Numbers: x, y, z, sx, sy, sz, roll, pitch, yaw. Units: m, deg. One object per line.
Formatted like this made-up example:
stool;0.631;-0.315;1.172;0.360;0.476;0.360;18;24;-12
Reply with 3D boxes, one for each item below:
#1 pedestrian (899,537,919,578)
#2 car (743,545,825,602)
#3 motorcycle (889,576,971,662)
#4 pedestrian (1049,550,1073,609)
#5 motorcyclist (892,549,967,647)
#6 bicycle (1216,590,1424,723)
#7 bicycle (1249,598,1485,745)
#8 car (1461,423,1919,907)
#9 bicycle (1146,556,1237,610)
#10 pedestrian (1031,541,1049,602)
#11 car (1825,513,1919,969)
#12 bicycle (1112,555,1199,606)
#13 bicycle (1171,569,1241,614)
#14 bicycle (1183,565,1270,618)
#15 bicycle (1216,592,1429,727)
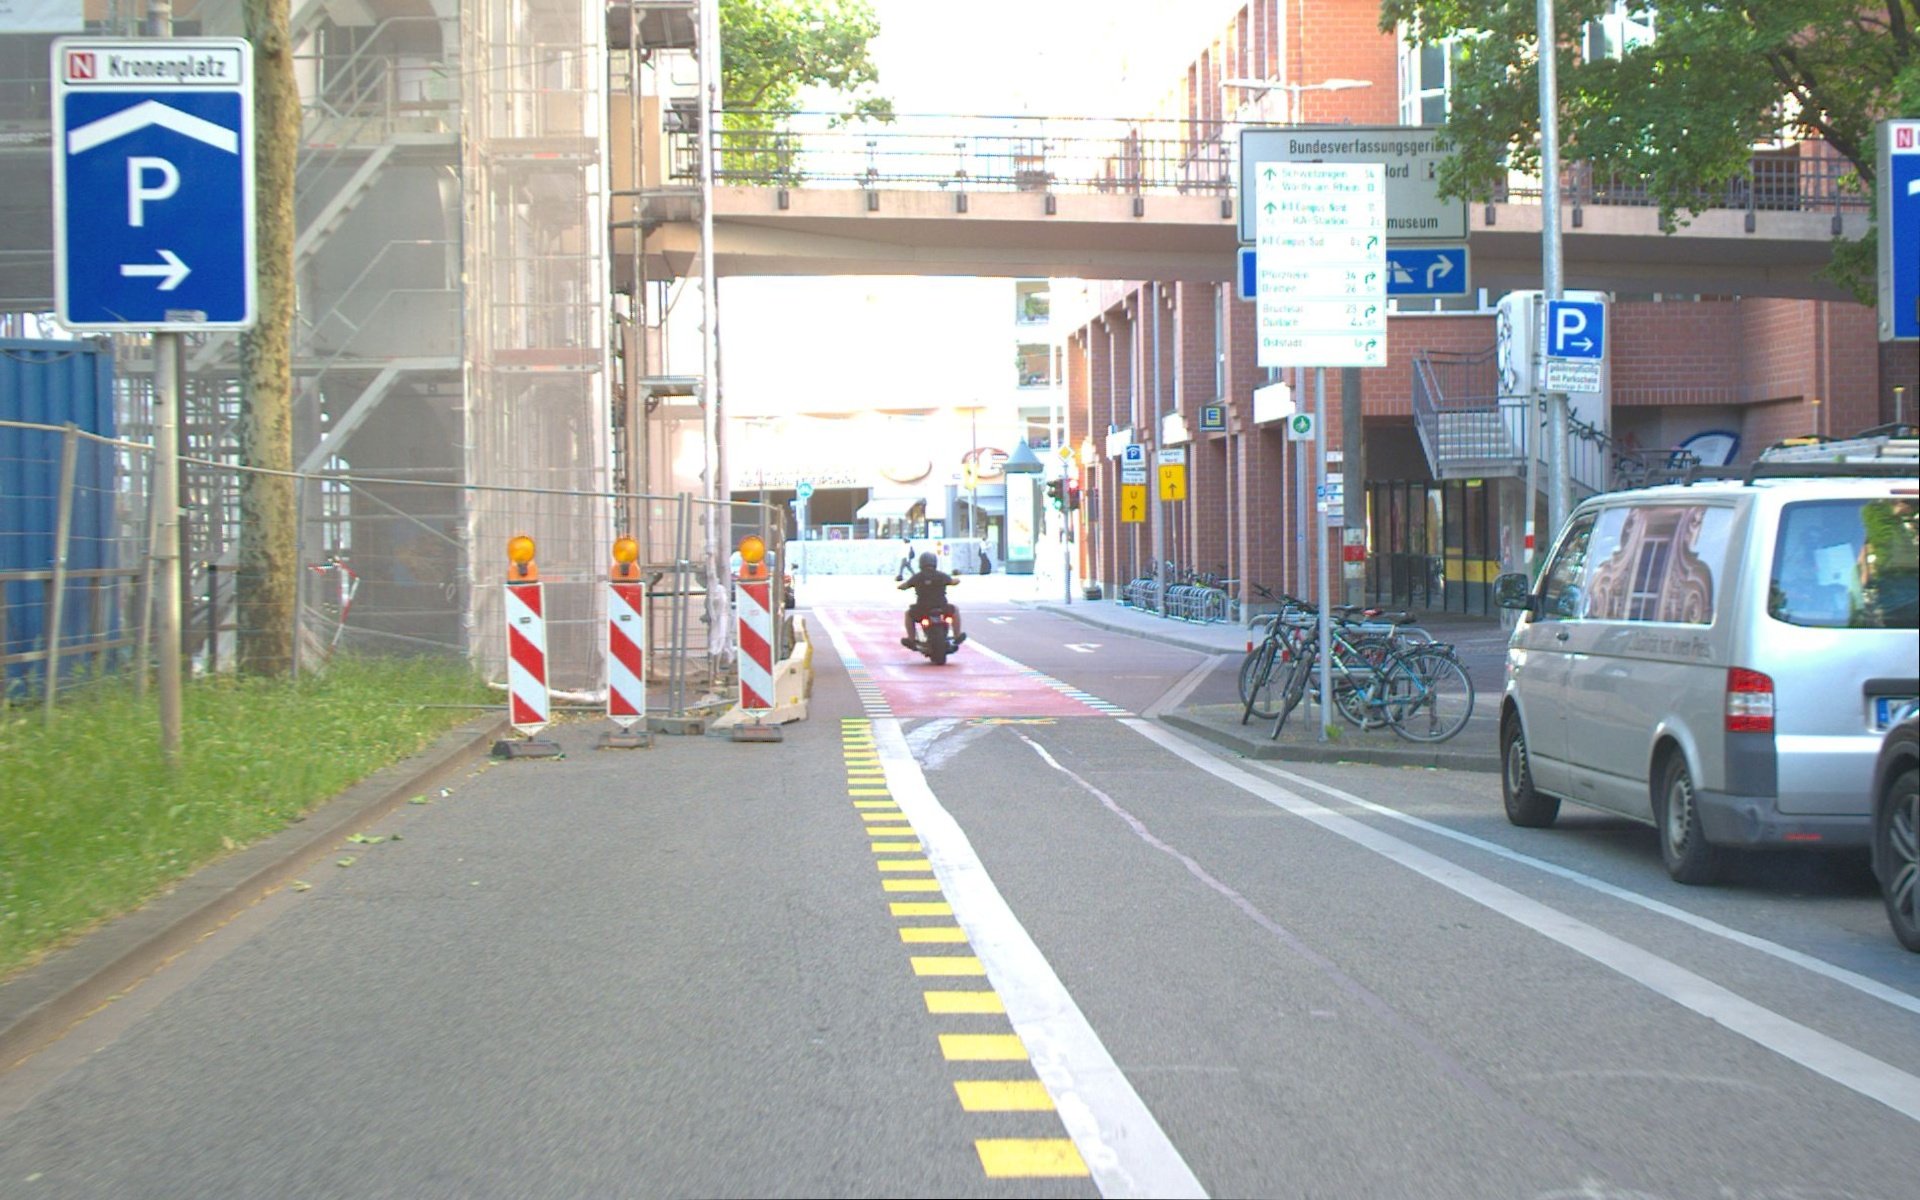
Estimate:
pedestrian;-1.995;-1.663;133.750;0.557;1.578;0.539;1;1;44
car;-4.470;-0.680;86.982;1.923;1.384;4.001;-1;1;-5
motorcycle;-0.430;0.249;47.931;0.973;1.128;2.805;1;1;-4
pedestrian;2.961;-0.597;100.553;0.633;1.719;0.630;0;1;-3
motorcyclist;-0.438;-0.037;48.055;0.970;1.342;1.138;1;1;-4
bicycle;3.003;0.462;28.755;1.680;1.064;0.500;1;1;31
bicycle;3.055;0.527;25.816;1.679;1.064;0.511;0;1;20
car;4.038;0.230;17.397;1.918;2.071;5.171;0;1;-4
bicycle;4.972;-0.366;73.936;1.891;1.115;0.550;-1;1;-3
pedestrian;2.355;-0.842;101.356;0.475;1.786;0.541;0;1;-3
car;4.461;0.524;11.576;1.787;1.664;4.200;0;1;-4
bicycle;4.431;-0.439;77.909;1.891;1.115;0.475;-1;1;-3
bicycle;4.986;-0.174;69.752;1.334;0.838;0.425;-3;1;-1
bicycle;5.194;-0.168;67.006;1.611;0.951;0.555;-3;1;-1
bicycle;2.951;0.473;28.052;1.680;1.064;0.500;1;1;31
